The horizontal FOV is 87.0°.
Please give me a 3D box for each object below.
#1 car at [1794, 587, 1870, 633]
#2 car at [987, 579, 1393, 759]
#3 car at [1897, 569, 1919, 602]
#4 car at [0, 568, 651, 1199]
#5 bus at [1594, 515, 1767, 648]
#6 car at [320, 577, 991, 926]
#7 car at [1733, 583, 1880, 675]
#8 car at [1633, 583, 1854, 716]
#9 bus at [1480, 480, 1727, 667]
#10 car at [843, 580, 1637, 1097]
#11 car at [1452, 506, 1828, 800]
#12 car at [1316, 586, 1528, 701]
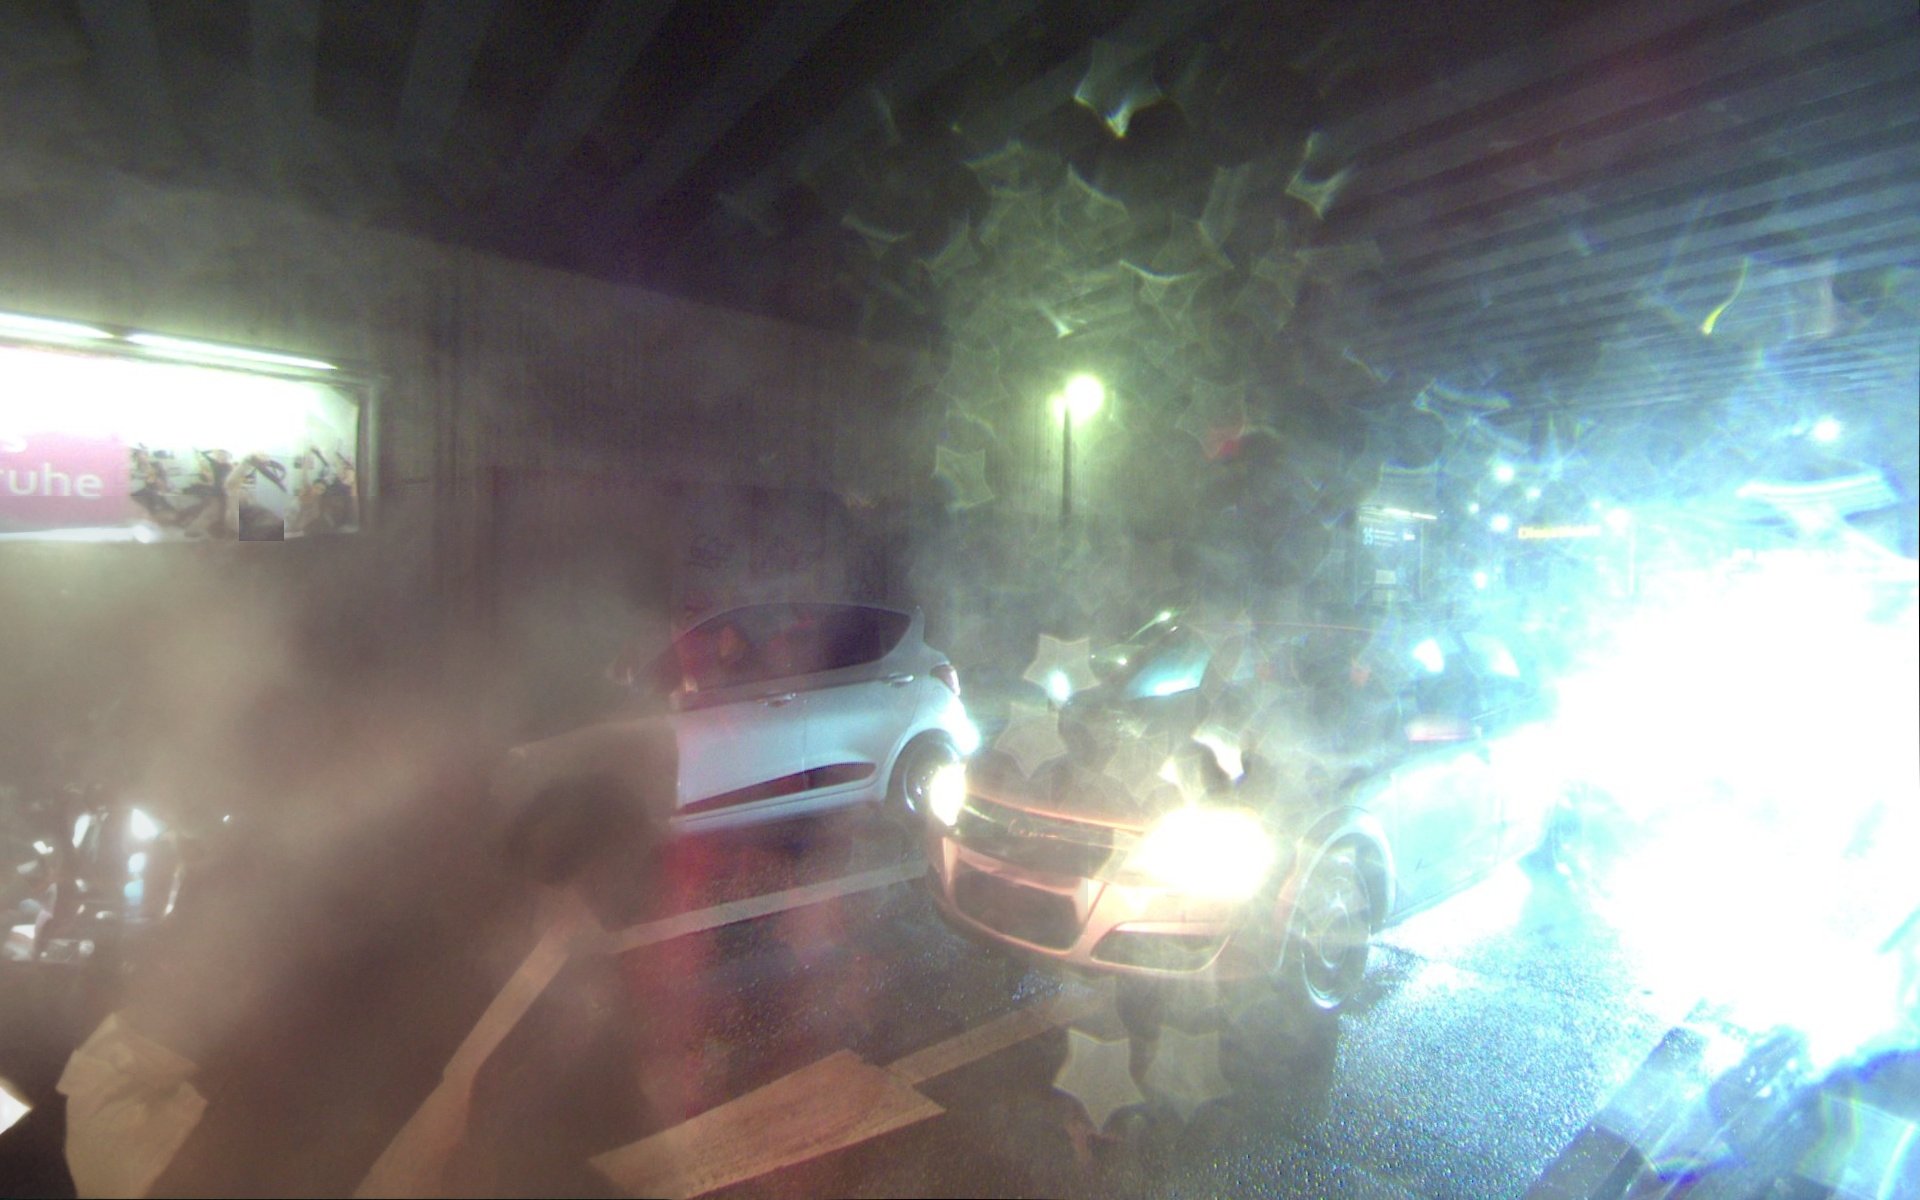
[{"bbox_3d":[29.870,0.310,34.759,1.674,1.490,3.948,0,0,36],"label":"car"},{"bbox_3d":[2.476,0.548,10.105,4.489,1.408,1.754,1,0,-43],"label":"car"},{"bbox_3d":[58.981,-0.888,61.381,1.979,1.950,3.967,0,0,25],"label":"car"},{"bbox_3d":[-2.691,0.684,0.971,4.273,1.422,1.719,-1,0,-41],"label":"car"},{"bbox_3d":[20.599,-0.444,28.630,2.768,3.163,9.610,0,0,43],"label":"bus"},{"bbox_3d":[-1.635,0.618,6.090,3.533,1.477,1.635,-1,0,-43],"label":"car"},{"bbox_3d":[15.689,0.461,18.687,3.933,1.522,1.627,-1,0,-43],"label":"car"},{"bbox_3d":[10.591,0.549,13.599,3.705,1.531,1.865,-1,0,-44],"label":"car"},{"bbox_3d":[14.055,-0.454,21.601,2.768,3.163,9.610,0,0,43],"label":"bus"},{"bbox_3d":[1.581,0.639,4.825,3.931,1.384,1.791,-2,2,-41],"label":"car"},{"bbox_3d":[6.499,0.357,9.478,4.274,2.115,1.996,-1,0,-43],"label":"car"},{"bbox_3d":[6.894,0.542,14.938,1.750,1.449,3.701,2,1,43],"label":"car"}]
